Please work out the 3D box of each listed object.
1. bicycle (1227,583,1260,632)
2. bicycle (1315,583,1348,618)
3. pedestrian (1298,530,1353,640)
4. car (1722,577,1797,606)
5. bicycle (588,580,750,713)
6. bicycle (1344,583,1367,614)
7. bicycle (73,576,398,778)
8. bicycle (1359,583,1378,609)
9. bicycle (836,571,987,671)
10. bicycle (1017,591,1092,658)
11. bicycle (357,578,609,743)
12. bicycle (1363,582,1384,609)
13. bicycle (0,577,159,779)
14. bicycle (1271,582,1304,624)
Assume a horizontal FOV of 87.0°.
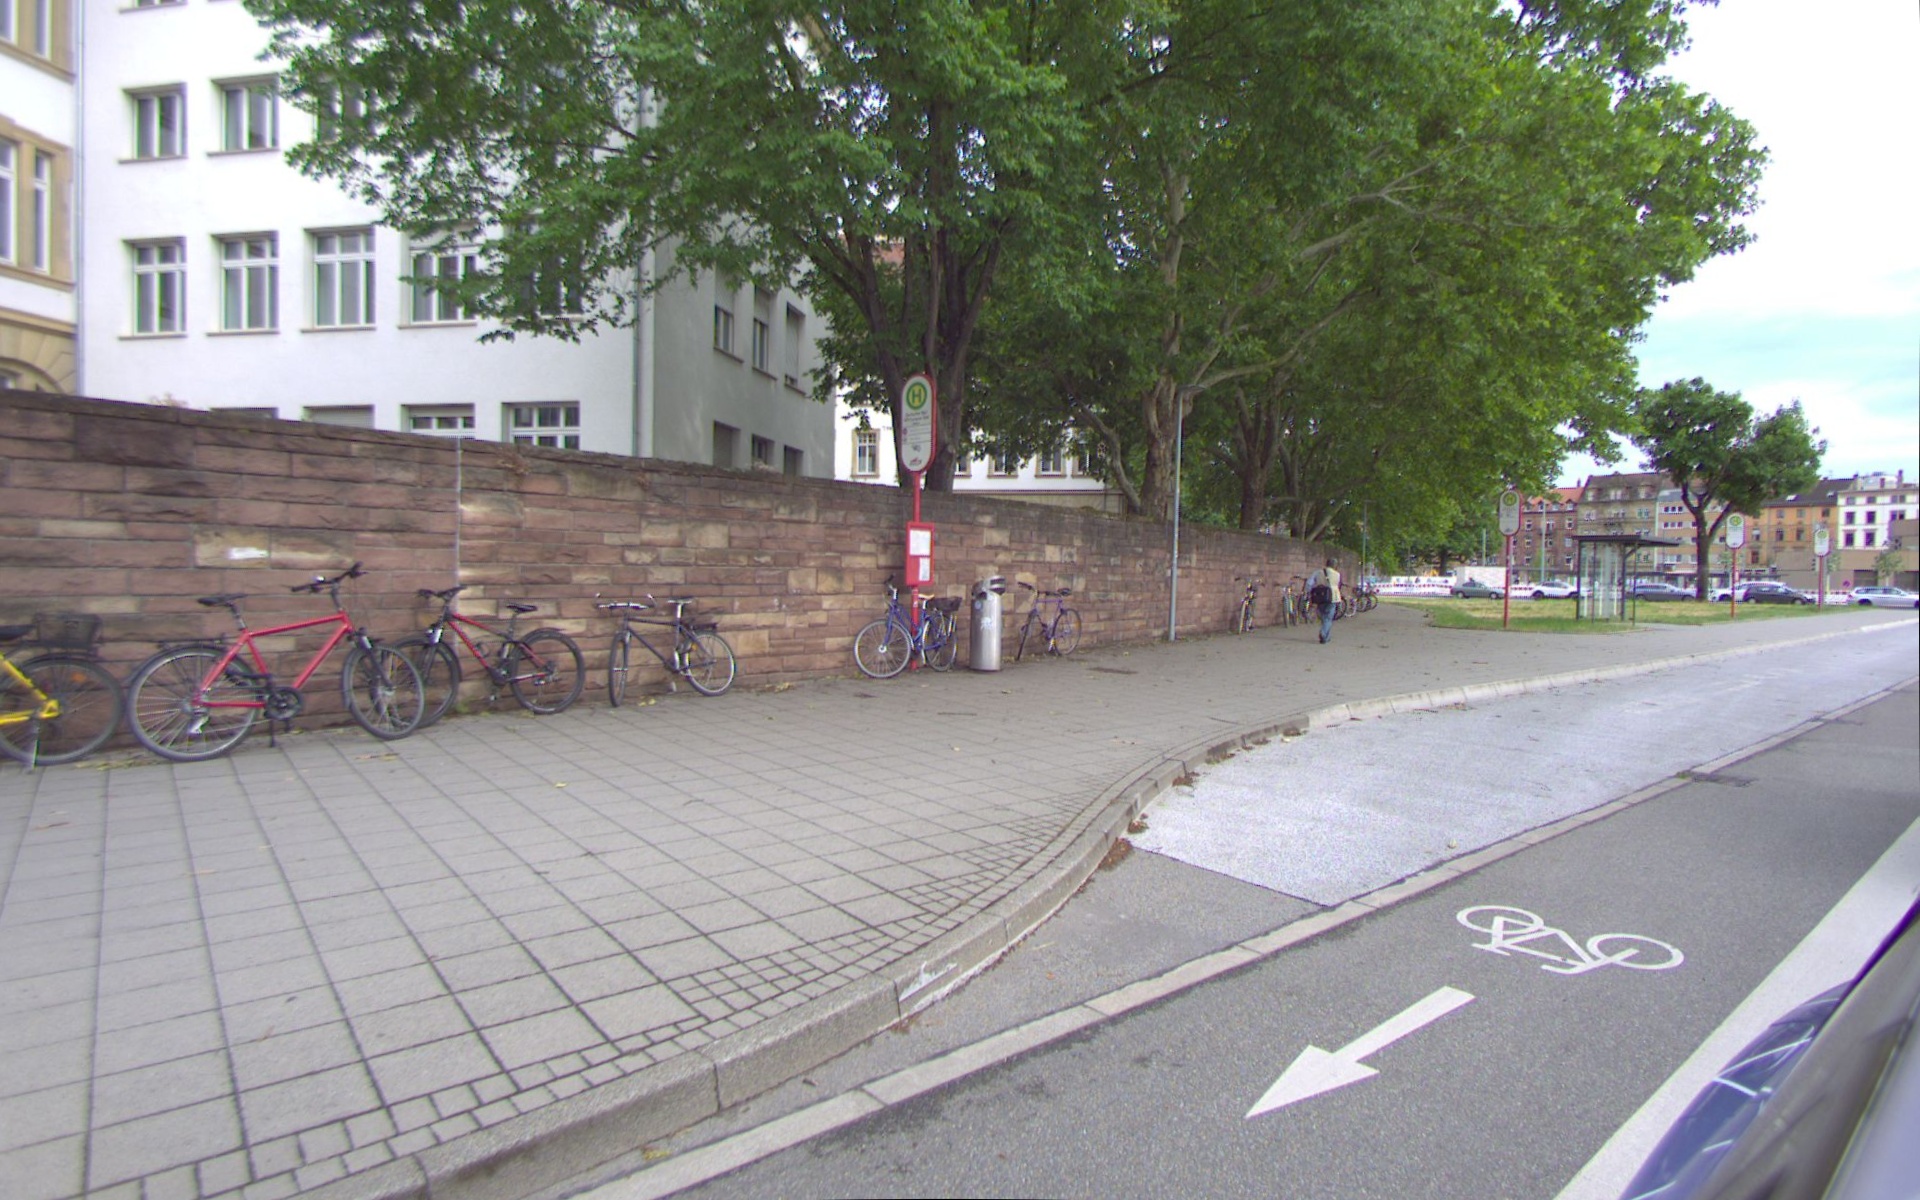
[{"bbox_3d":[5.950,0.141,21.199,0.361,0.951,1.626,2,2,27],"label":"bicycle"},{"bbox_3d":[10.672,-0.009,29.038,0.648,0.951,1.939,2,2,27],"label":"bicycle"},{"bbox_3d":[6.984,-0.294,19.325,0.778,2.039,0.879,2,1,32],"label":"pedestrian"},{"bbox_3d":[58.839,-0.610,74.515,4.265,2.039,1.971,0,0,40],"label":"car"},{"bbox_3d":[-2.706,0.396,9.587,0.336,1.158,1.658,0,0,33],"label":"bicycle"},{"bbox_3d":[13.158,-0.068,33.643,0.563,0.951,1.752,2,2,26],"label":"bicycle"},{"bbox_3d":[-4.734,0.434,6.802,0.381,1.158,1.930,0,0,18],"label":"bicycle"},{"bbox_3d":[15.523,-0.153,38.450,0.555,0.951,1.342,2,2,26],"label":"bicycle"},{"bbox_3d":[-0.535,0.218,12.061,0.476,1.089,2.051,2,2,42],"label":"bicycle"},{"bbox_3d":[1.382,0.326,14.627,0.290,0.896,1.590,2,2,36],"label":"bicycle"},{"bbox_3d":[-3.698,0.416,8.031,0.336,1.158,1.919,0,0,33],"label":"bicycle"},{"bbox_3d":[17.252,-0.182,42.172,0.686,1.098,1.638,2,0,26],"label":"bicycle"},{"bbox_3d":[-5.773,0.449,5.751,0.383,1.158,1.922,0,0,29],"label":"bicycle"},{"bbox_3d":[7.924,0.059,24.450,0.477,0.951,1.882,2,2,27],"label":"bicycle"}]
